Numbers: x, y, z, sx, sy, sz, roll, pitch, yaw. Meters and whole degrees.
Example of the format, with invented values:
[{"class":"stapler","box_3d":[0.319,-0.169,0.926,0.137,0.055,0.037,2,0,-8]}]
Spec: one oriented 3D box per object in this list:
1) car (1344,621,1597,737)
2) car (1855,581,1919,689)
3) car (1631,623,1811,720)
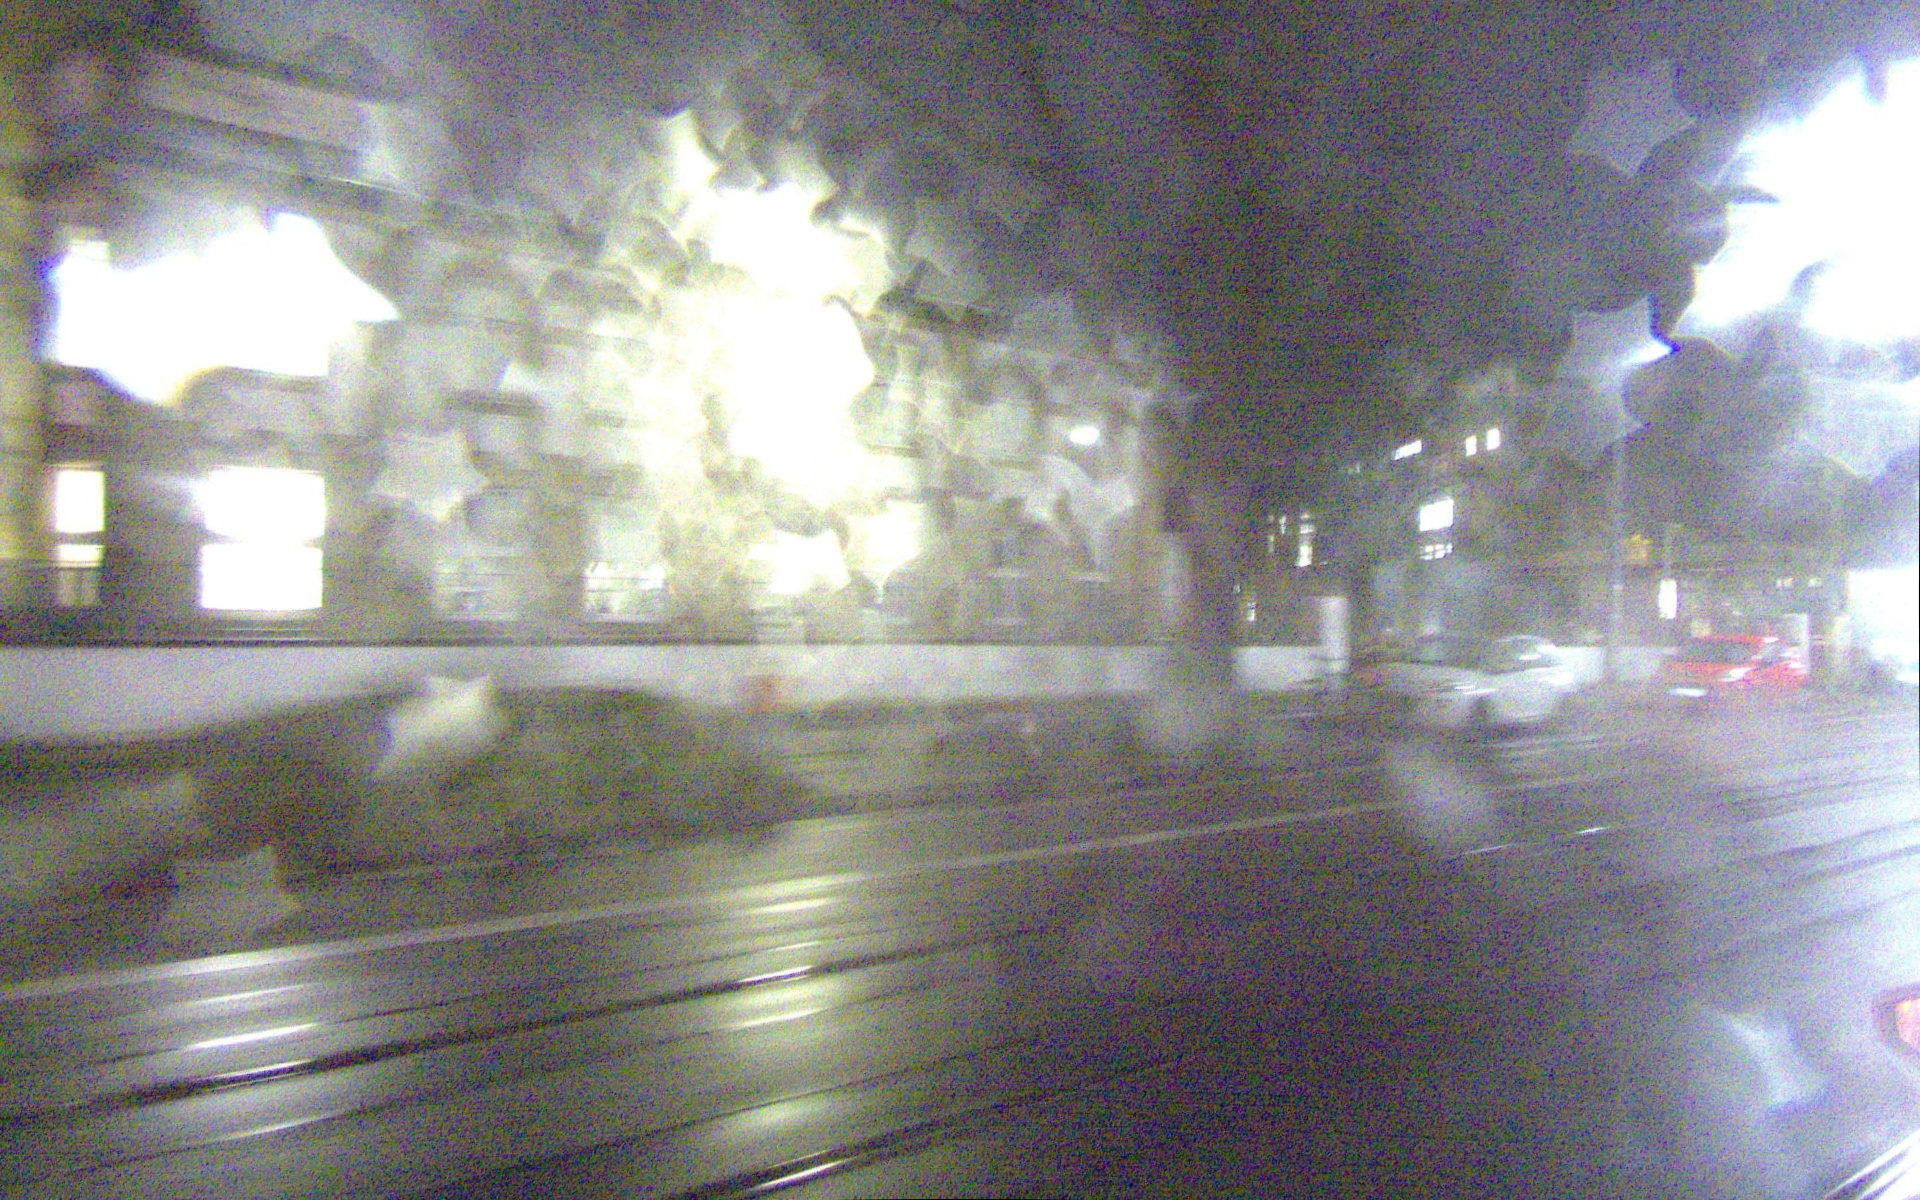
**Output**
[{"class":"car","box_3d":[7.500,1.082,14.686,3.767,1.447,1.600,2,0,-33]},{"class":"car","box_3d":[24.764,0.860,25.223,5.548,2.532,2.012,1,1,-34]},{"class":"car","box_3d":[14.408,1.276,18.982,3.580,1.527,1.631,-1,1,-33]}]
